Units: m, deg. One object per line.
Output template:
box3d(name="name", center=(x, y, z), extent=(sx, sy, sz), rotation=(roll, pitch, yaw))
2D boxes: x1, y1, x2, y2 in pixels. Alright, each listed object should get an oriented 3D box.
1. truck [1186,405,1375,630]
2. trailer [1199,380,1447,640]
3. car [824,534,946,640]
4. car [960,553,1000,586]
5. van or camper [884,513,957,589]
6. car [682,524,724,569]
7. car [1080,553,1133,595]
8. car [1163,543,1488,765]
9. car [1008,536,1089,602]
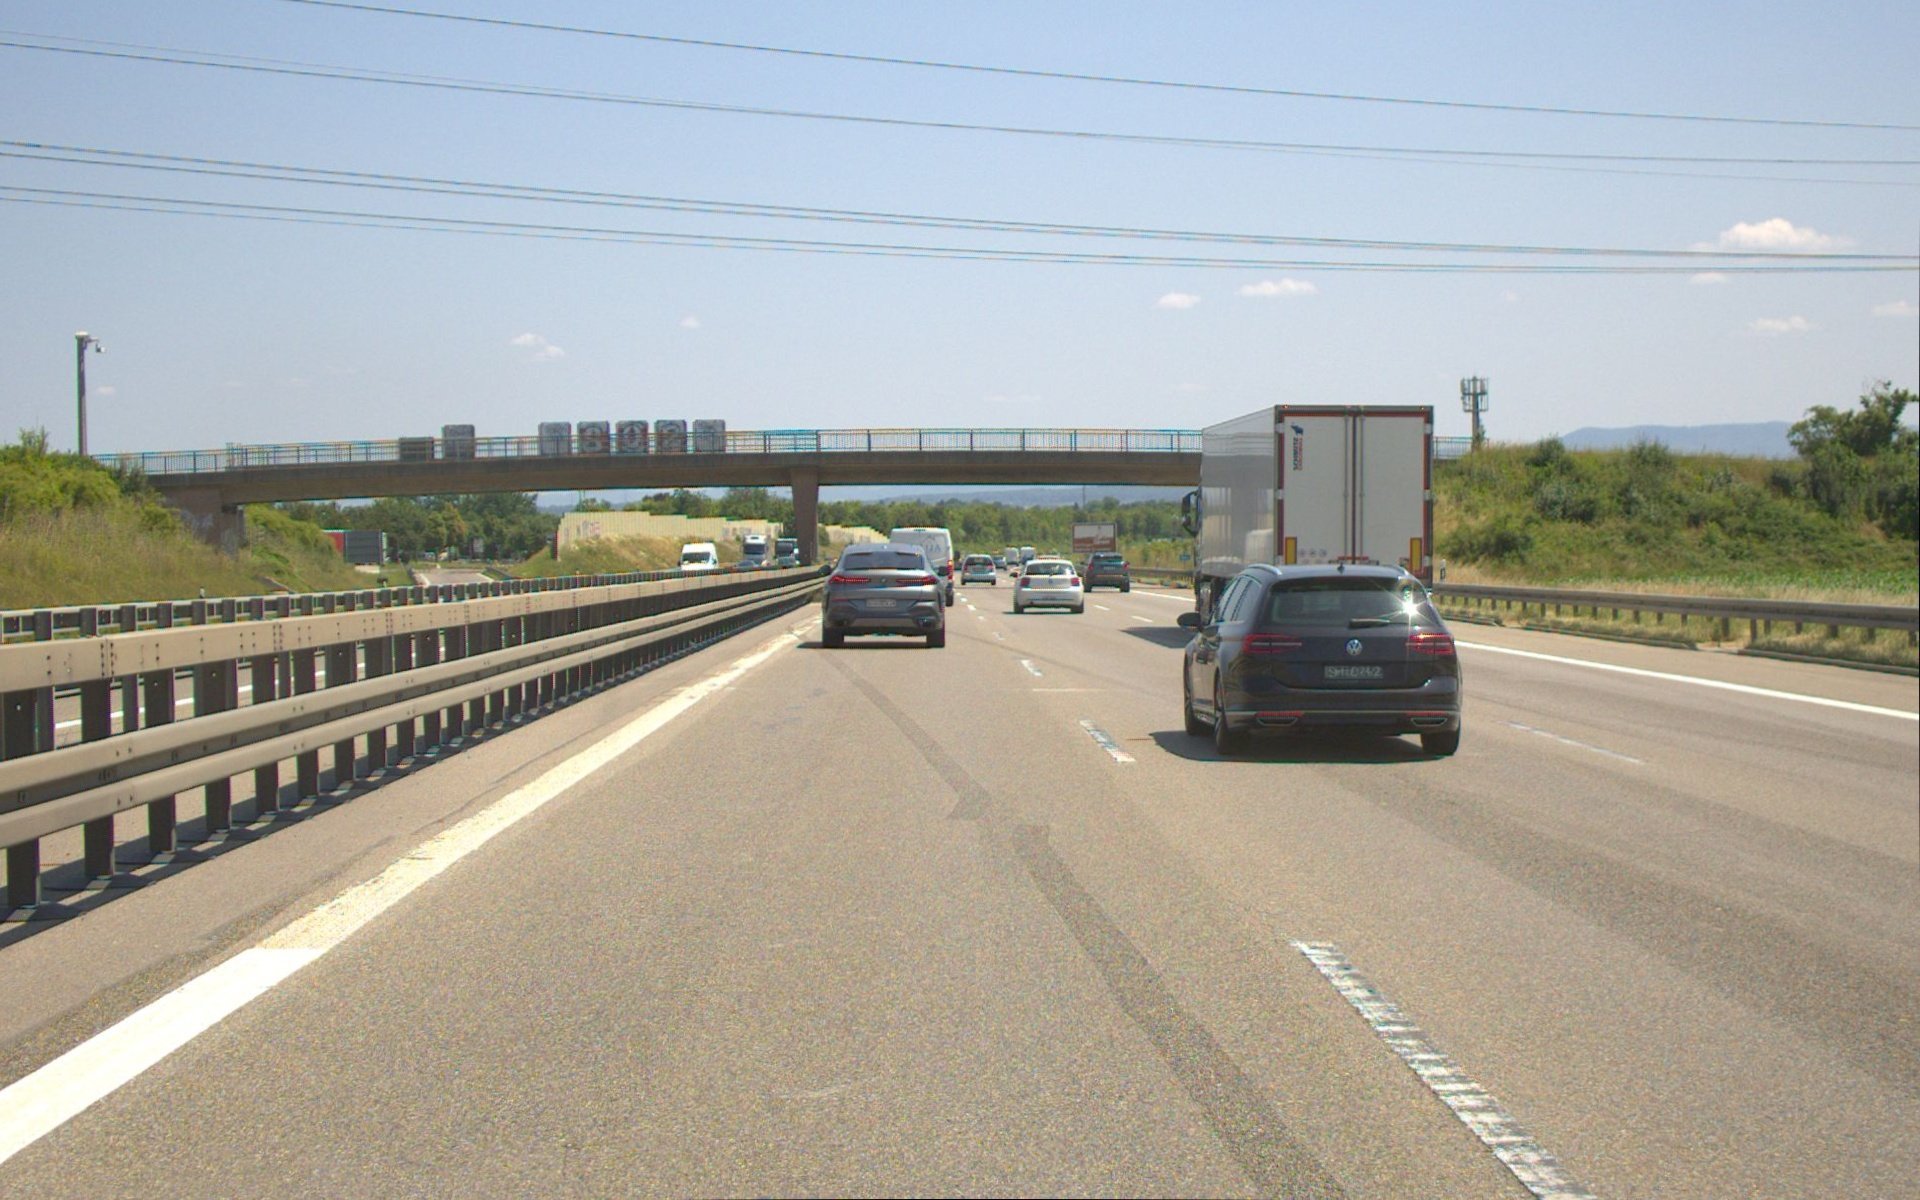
box3d(name="truck", center=(6.299, -1.608, 68.745), extent=(2.979, 4.213, 7.687), rotation=(1, 1, 0))
box3d(name="trailer", center=(6.343, -1.543, 62.454), extent=(2.943, 4.184, 13.597), rotation=(1, 1, 0))
box3d(name="car", center=(-1.262, -0.227, 56.254), extent=(1.851, 1.658, 3.735), rotation=(1, 1, -3))
box3d(name="car", center=(1.035, -1.569, 177.150), extent=(1.993, 1.677, 4.000), rotation=(1, 1, 0))
box3d(name="van or camper", center=(-1.167, -1.464, 103.482), extent=(2.110, 2.204, 5.266), rotation=(1, 1, 0))
box3d(name="car", center=(-15.383, -3.204, 206.048), extent=(2.032, 2.596, 7.601), rotation=(1, 1, -1))
box3d(name="car", center=(6.069, -1.089, 142.484), extent=(1.993, 1.677, 4.000), rotation=(1, 1, 0))
box3d(name="car", center=(2.760, 0.355, 27.055), extent=(1.933, 1.569, 4.935), rotation=(1, 1, -1))
box3d(name="car", center=(2.304, -0.834, 90.332), extent=(1.993, 1.677, 4.000), rotation=(1, 1, 0))
